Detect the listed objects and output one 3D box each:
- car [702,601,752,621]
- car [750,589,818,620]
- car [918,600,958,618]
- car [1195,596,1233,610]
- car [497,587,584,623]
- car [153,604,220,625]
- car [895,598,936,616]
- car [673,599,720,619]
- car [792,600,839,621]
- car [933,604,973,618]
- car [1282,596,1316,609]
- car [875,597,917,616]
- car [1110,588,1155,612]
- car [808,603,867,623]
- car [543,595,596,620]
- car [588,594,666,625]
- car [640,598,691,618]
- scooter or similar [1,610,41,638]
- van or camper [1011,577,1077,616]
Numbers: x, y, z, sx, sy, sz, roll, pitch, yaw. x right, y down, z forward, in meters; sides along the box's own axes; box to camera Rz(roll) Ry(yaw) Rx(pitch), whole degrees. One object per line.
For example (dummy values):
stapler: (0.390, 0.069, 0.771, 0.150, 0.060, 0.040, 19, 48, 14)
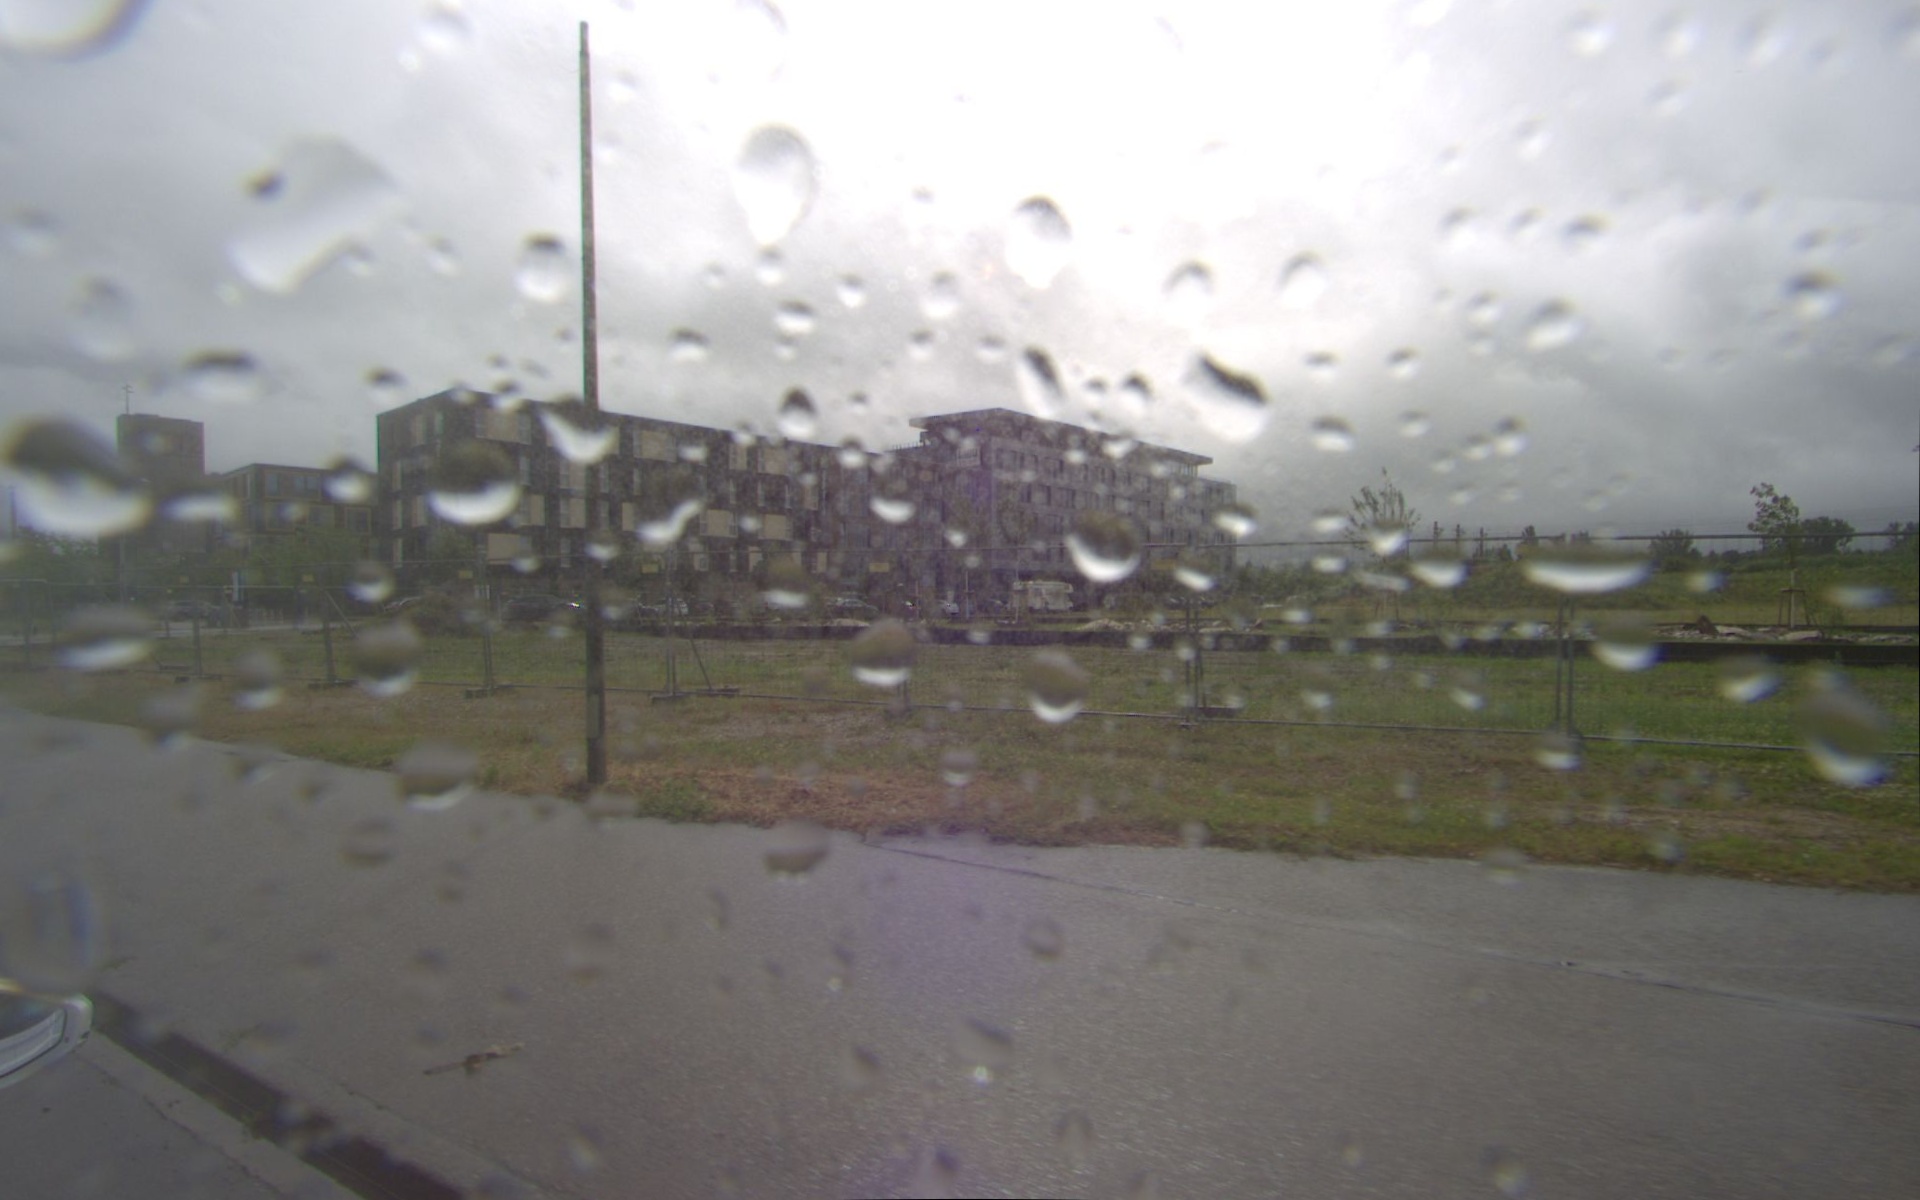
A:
car: (-17.962, 0.831, 77.136, 3.797, 1.413, 1.773, 0, -3, 40)
car: (-12.110, 0.328, 69.062, 1.977, 1.794, 4.306, 0, -4, 41)
car: (-2.118, 0.837, 96.048, 3.797, 1.635, 1.538, 0, -3, 40)
car: (31.910, 0.402, 126.001, 4.322, 1.709, 1.785, 0, -3, 44)
car: (-23.196, 0.289, 55.439, 1.974, 1.749, 3.976, 0, -3, 37)
car: (-63.547, 1.185, 82.293, 1.649, 1.578, 4.179, 0, 1, 44)
car: (-4.169, 0.655, 93.375, 3.797, 1.635, 1.538, 0, -3, 40)
car: (-19.863, 0.708, 75.376, 3.738, 1.414, 1.631, -1, -2, 41)
car: (-12.155, 0.902, 84.267, 3.797, 1.635, 1.773, 0, -3, 40)
car: (-0.674, 1.054, 98.005, 3.857, 1.312, 1.541, 0, -3, 40)
car: (45.630, 0.346, 134.863, 3.945, 1.751, 1.988, 0, 0, 34)
car: (-5.836, 0.604, 91.237, 3.797, 1.635, 1.538, 0, -3, 40)
car: (17.187, 0.022, 99.644, 1.979, 2.039, 4.771, 0, -3, 44)
car: (-8.922, 0.932, 73.011, 1.976, 1.433, 3.968, 0, 0, 40)
car: (-26.480, 0.524, 67.855, 3.797, 1.547, 1.773, 0, -3, 40)
car: (-19.777, 0.580, 59.609, 1.974, 1.661, 3.976, 0, -3, 37)
car: (-21.615, 0.589, 73.462, 3.762, 1.413, 1.756, 0, -3, 40)
scooter or similar: (-43.233, 1.091, 46.115, 0.493, 1.203, 1.283, 2, 2, 11)
van or camper: (7.724, -0.264, 91.785, 2.500, 3.241, 6.750, 0, -3, 41)
